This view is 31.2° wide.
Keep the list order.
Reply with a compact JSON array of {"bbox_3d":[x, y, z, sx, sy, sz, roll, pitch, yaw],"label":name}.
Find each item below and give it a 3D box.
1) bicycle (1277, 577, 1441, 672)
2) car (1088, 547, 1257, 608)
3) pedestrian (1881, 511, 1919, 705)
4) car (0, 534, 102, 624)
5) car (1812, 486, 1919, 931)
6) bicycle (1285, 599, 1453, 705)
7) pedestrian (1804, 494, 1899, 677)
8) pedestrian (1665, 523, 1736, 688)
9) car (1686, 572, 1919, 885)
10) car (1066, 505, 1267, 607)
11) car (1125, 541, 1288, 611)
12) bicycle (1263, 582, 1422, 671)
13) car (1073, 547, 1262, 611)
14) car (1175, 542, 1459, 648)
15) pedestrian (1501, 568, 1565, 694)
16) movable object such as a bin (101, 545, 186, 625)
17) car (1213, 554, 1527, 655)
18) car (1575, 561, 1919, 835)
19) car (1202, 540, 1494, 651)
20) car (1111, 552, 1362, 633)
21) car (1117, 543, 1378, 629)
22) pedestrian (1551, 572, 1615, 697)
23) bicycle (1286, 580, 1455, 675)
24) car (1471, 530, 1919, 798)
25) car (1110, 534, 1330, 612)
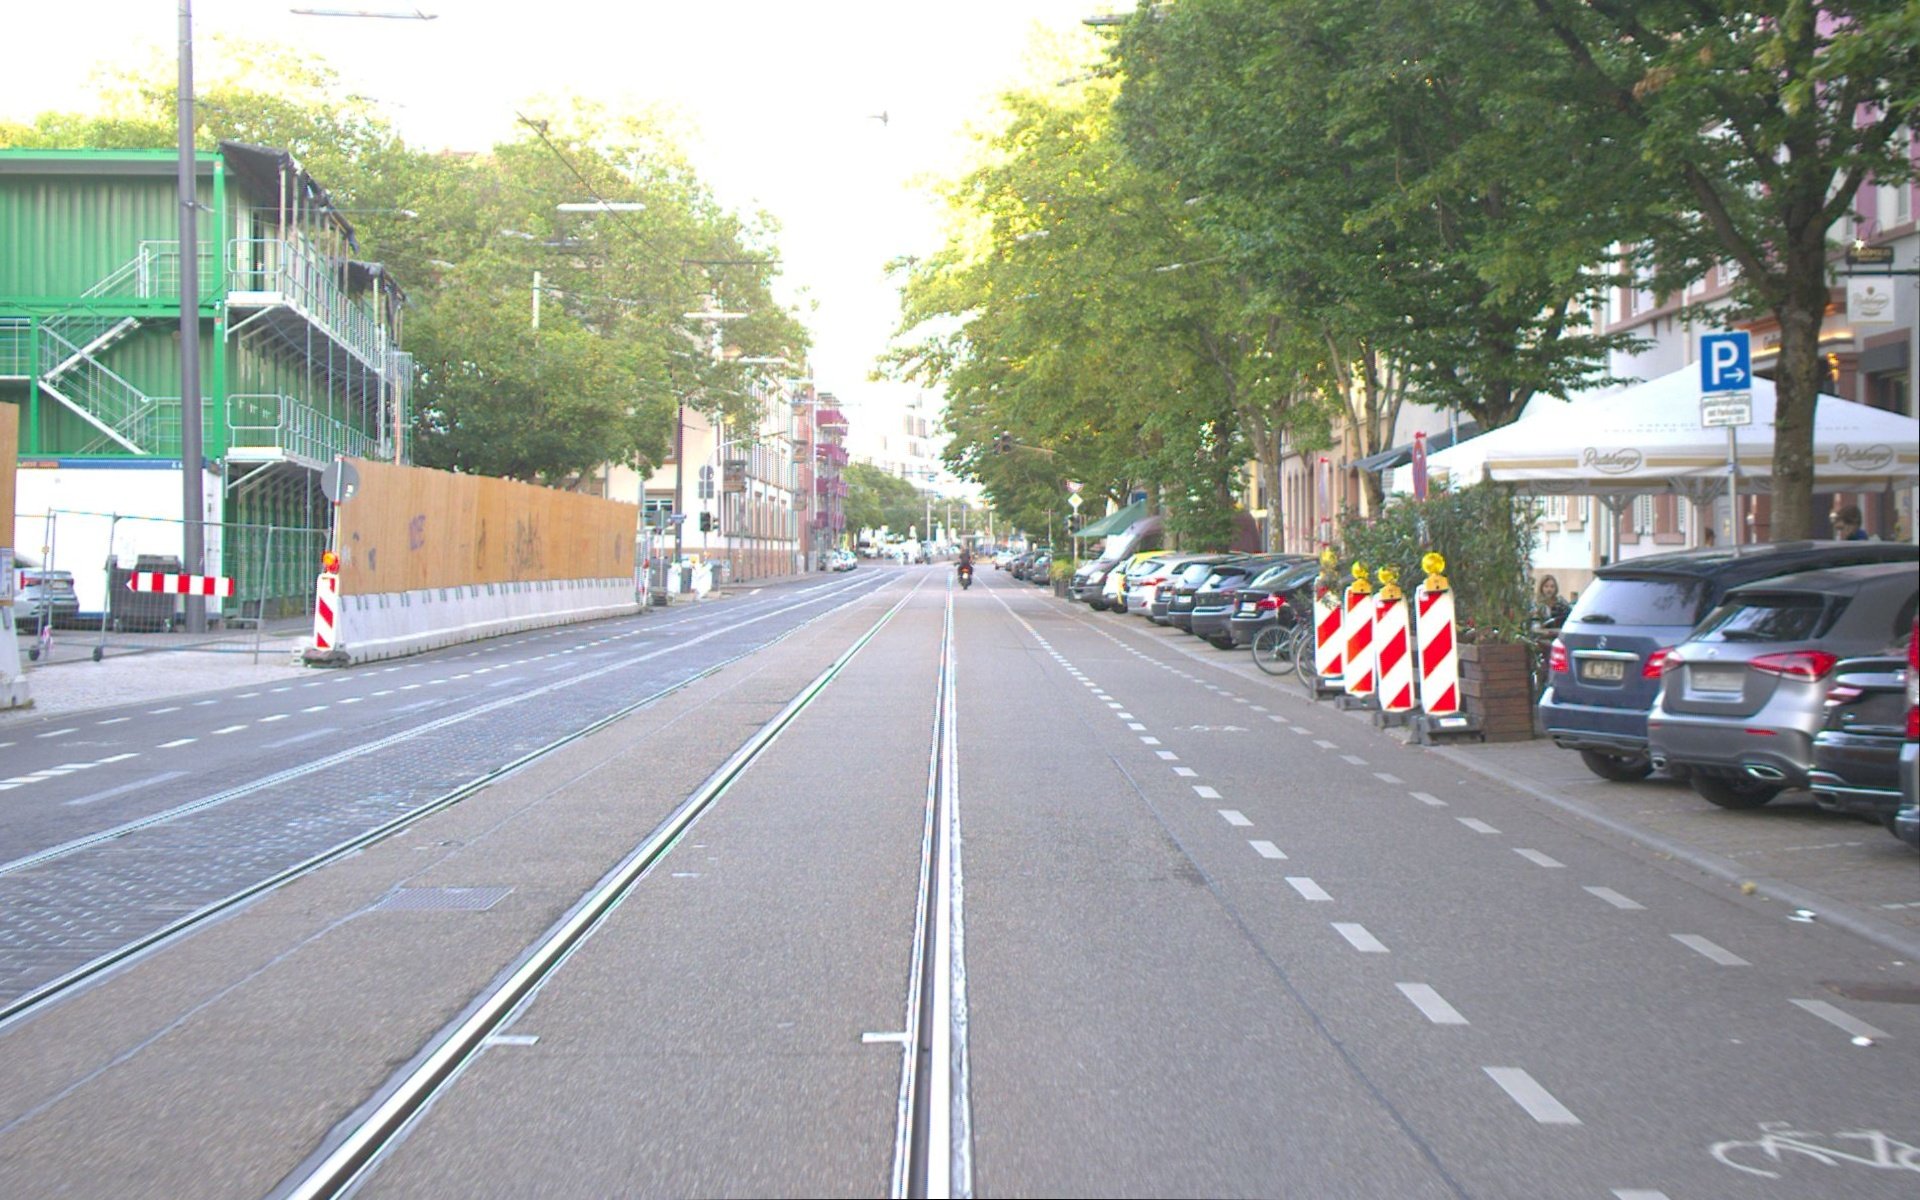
[{"bbox_3d":[4.925,0.300,42.493,1.886,1.064,0.674,-3,1,-2],"label":"bicycle"},{"bbox_3d":[5.581,-0.593,90.453,3.949,1.481,1.921,-2,0,-24],"label":"car"},{"bbox_3d":[8.942,0.072,31.411,0.702,1.757,0.715,0,1,-27],"label":"pedestrian"},{"bbox_3d":[-16.552,-0.406,57.279,3.998,1.398,1.735,3,1,15],"label":"car"},{"bbox_3d":[5.897,0.366,14.503,4.147,1.800,2.008,-2,1,-28],"label":"car"},{"bbox_3d":[4.371,0.555,36.796,1.678,1.028,0.557,-3,1,-1],"label":"bicycle"},{"bbox_3d":[8.700,-0.145,33.582,0.550,1.757,0.853,0,1,-12],"label":"pedestrian"},{"bbox_3d":[8.002,0.055,37.170,0.551,1.757,0.894,1,1,0],"label":"pedestrian"},{"bbox_3d":[6.019,0.517,17.440,4.309,1.384,1.807,-3,1,-25],"label":"car"},{"bbox_3d":[5.723,-1.220,95.202,5.093,2.633,2.022,-2,0,-16],"label":"car"},{"bbox_3d":[6.184,-0.605,86.678,3.950,1.614,1.921,-2,0,1],"label":"car"},{"bbox_3d":[4.850,0.333,43.684,1.903,1.028,0.533,-3,1,-2],"label":"bicycle"},{"bbox_3d":[5.019,-0.500,83.109,4.120,1.420,1.921,-2,0,-25],"label":"car"},{"bbox_3d":[5.749,-0.101,55.526,4.115,1.465,1.824,-3,1,-16],"label":"car"},{"bbox_3d":[5.962,0.320,35.785,0.502,1.288,0.600,1,1,-5],"label":"pedestrian"},{"bbox_3d":[-14.013,-0.256,59.013,1.306,1.365,0.784,0,1,-3],"label":"movable object such as a bin"},{"bbox_3d":[5.980,0.057,50.181,4.160,1.422,1.824,0,1,-19],"label":"car"},{"bbox_3d":[5.657,0.488,19.967,3.772,1.403,1.706,-2,1,-25],"label":"car"},{"bbox_3d":[5.962,-0.082,53.023,3.948,1.465,2.002,-3,1,-16],"label":"car"},{"bbox_3d":[5.227,-0.152,64.940,4.249,1.387,2.016,-2,1,-23],"label":"car"},{"bbox_3d":[5.072,-0.255,60.639,4.115,1.465,2.016,0,1,-24],"label":"car"},{"bbox_3d":[6.505,0.354,35.906,0.502,1.288,0.600,1,1,-4],"label":"pedestrian"},{"bbox_3d":[4.907,0.324,41.119,1.886,1.028,0.608,-3,1,-1],"label":"bicycle"},{"bbox_3d":[5.503,0.352,22.443,3.961,1.548,1.706,-2,1,-25],"label":"car"},{"bbox_3d":[5.519,-0.580,73.189,4.249,1.543,2.020,-2,1,-10],"label":"car"}]
